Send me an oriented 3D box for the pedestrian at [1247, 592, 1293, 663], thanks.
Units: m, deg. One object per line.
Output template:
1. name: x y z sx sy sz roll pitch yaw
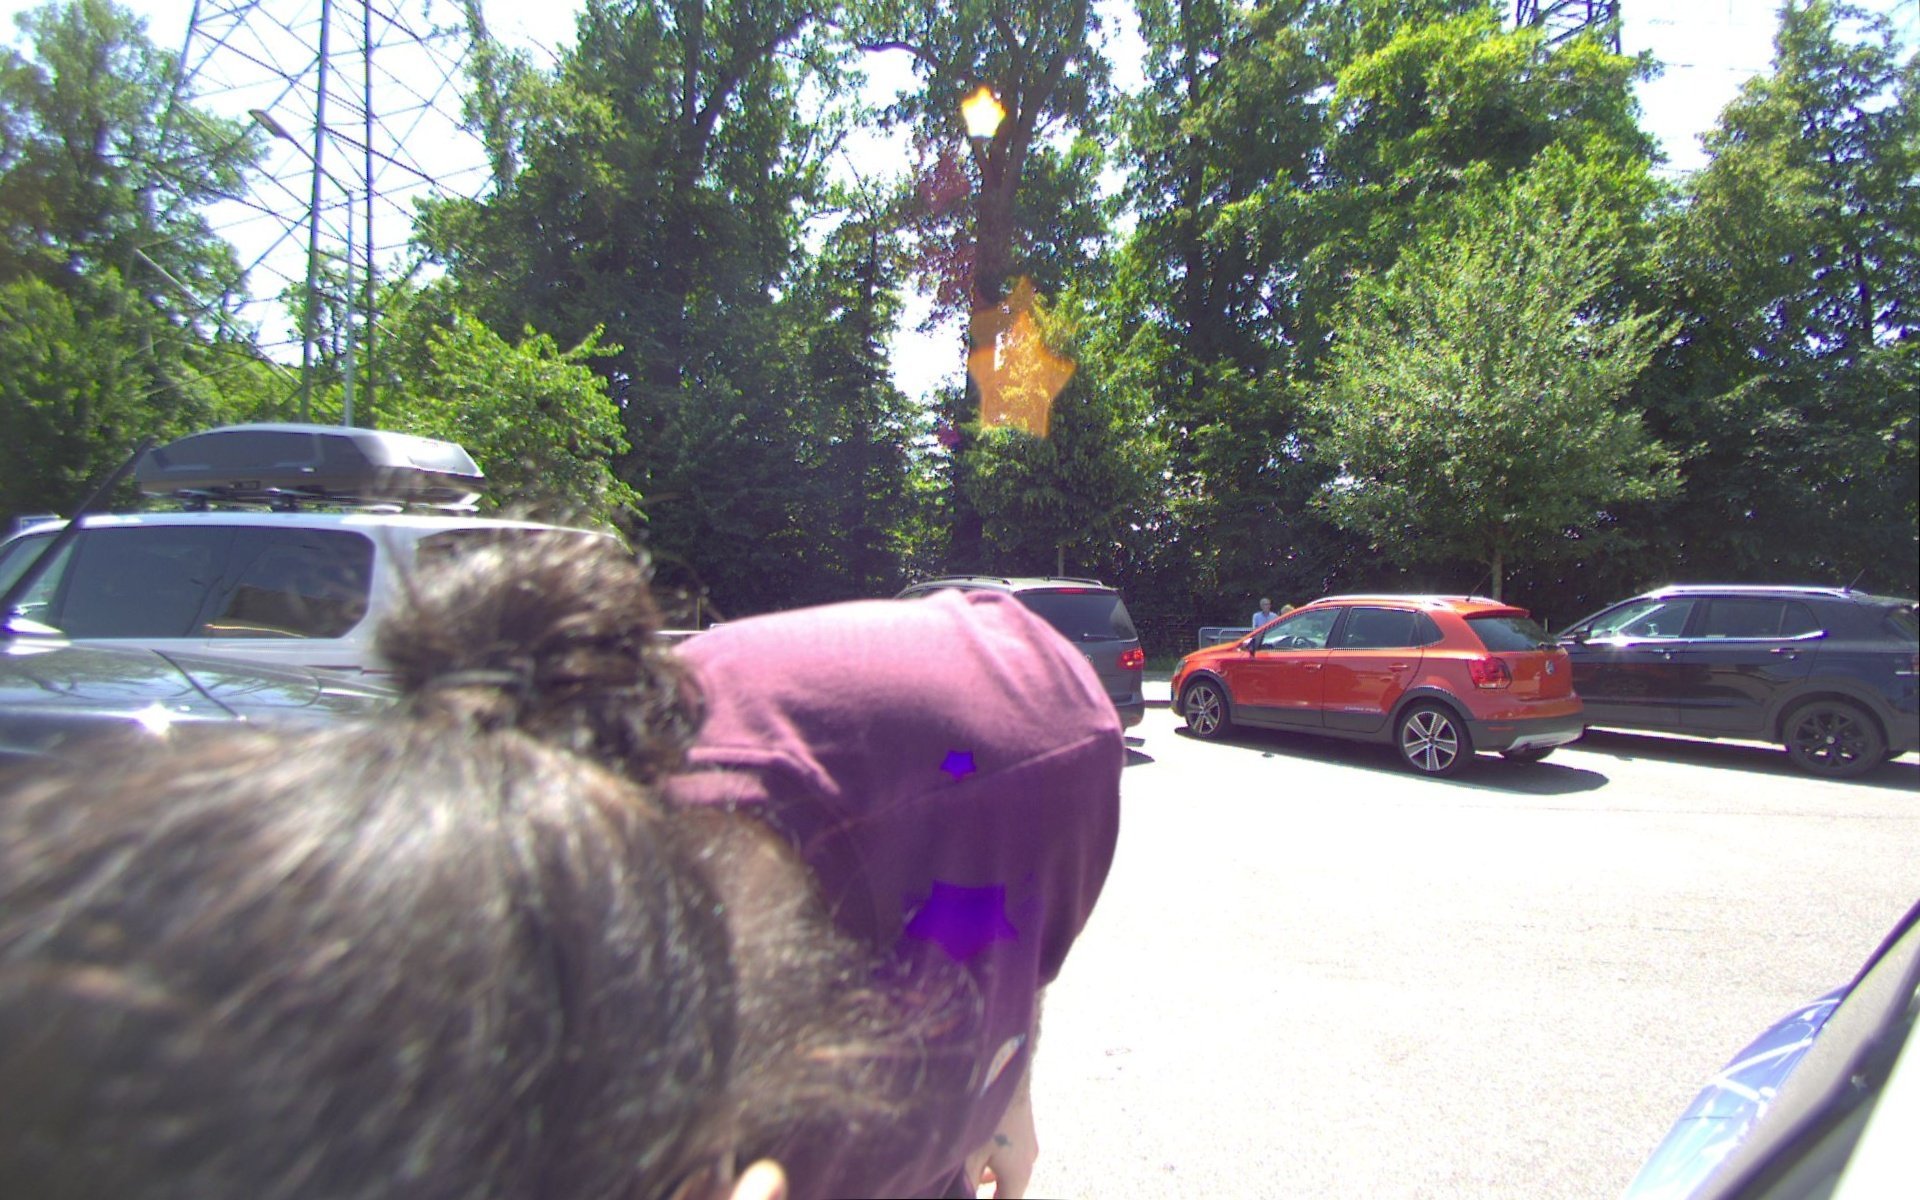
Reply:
1. pedestrian: 5.802 0.500 18.976 0.657 1.311 0.783 0 0 3

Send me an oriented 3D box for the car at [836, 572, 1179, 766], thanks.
1. car: 0.267 0.533 10.513 1.713 1.601 3.996 0 1 -29

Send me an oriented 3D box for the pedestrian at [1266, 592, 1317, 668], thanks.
1. pedestrian: 5.795 0.510 17.741 0.657 1.311 0.783 0 0 3

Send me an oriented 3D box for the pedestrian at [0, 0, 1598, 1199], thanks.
1. pedestrian: -0.140 0.544 0.594 0.874 1.865 0.621 0 0 -38

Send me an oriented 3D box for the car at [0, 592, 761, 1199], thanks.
1. car: -2.190 0.725 0.595 1.737 1.501 3.756 0 -1 44

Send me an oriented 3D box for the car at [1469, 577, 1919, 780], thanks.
1. car: 7.194 0.587 9.702 1.690 1.593 3.787 0 1 -39

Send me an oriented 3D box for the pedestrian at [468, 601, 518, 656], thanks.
1. pedestrian: -10.501 0.624 22.768 0.873 1.192 0.668 0 0 -41

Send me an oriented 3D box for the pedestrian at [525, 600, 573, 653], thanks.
1. pedestrian: -9.585 0.611 23.622 0.873 1.192 0.668 0 0 -41

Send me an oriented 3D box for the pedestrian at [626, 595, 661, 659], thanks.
1. pedestrian: -6.645 0.554 21.272 0.655 1.311 0.786 0 0 -16

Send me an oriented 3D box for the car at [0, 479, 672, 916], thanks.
1. car: -4.213 0.398 6.106 4.504 1.936 1.901 1 1 18

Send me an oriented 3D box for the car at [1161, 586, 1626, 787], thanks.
1. car: 3.867 0.623 9.643 1.687 1.484 3.793 0 1 -32
